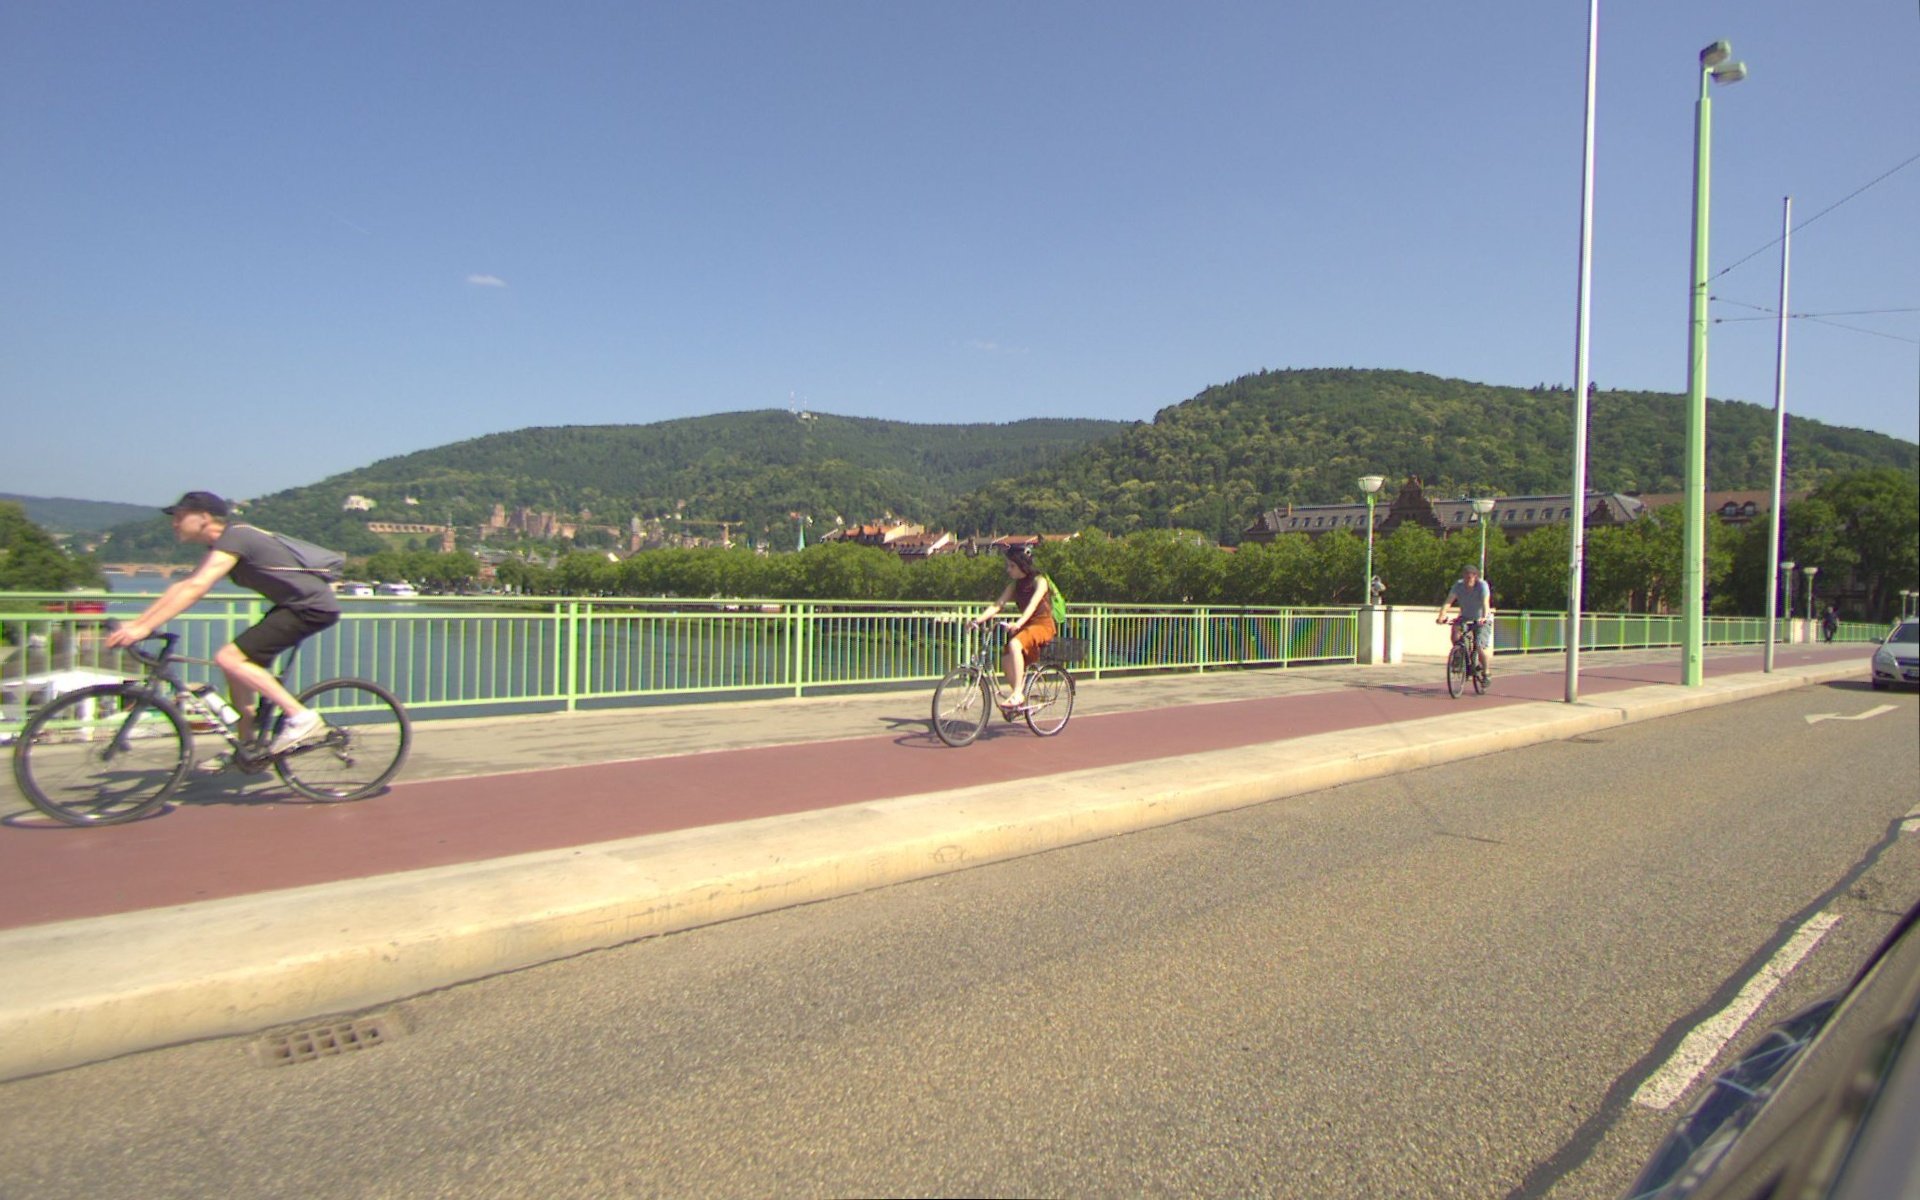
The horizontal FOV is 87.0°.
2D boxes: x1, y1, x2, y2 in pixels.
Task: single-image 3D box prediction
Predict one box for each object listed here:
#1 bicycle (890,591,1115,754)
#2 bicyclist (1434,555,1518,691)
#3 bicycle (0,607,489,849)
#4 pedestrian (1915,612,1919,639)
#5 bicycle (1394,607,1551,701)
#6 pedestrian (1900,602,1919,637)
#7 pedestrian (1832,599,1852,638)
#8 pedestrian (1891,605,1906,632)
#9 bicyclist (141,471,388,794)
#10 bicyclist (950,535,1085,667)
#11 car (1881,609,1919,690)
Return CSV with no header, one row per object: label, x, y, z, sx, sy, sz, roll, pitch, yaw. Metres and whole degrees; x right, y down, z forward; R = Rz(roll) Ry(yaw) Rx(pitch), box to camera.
bicycle,0.412,0.549,8.628,2.045,1.208,0.695,0,1,-45
bicyclist,7.039,0.298,13.795,1.132,1.765,0.673,1,1,-45
bicycle,-3.762,0.578,5.329,2.227,1.050,0.619,1,0,-43
pedestrian,61.221,1.625,64.501,0.523,1.670,0.688,1,0,44
bicycle,7.091,0.665,13.854,0.793,1.109,3.684,2,1,45
pedestrian,57.426,1.175,61.151,0.874,2.039,1.042,1,0,44
pedestrian,41.209,0.863,47.290,0.655,1.766,0.962,1,-2,44
pedestrian,58.976,1.180,63.600,0.679,1.652,0.651,2,-2,-40
bicyclist,-3.680,0.151,5.363,0.963,1.519,0.736,1,0,-42
bicyclist,0.497,0.005,8.679,0.964,1.058,0.667,1,0,-44
car,20.036,0.999,20.357,4.419,1.520,1.800,2,-1,-42
